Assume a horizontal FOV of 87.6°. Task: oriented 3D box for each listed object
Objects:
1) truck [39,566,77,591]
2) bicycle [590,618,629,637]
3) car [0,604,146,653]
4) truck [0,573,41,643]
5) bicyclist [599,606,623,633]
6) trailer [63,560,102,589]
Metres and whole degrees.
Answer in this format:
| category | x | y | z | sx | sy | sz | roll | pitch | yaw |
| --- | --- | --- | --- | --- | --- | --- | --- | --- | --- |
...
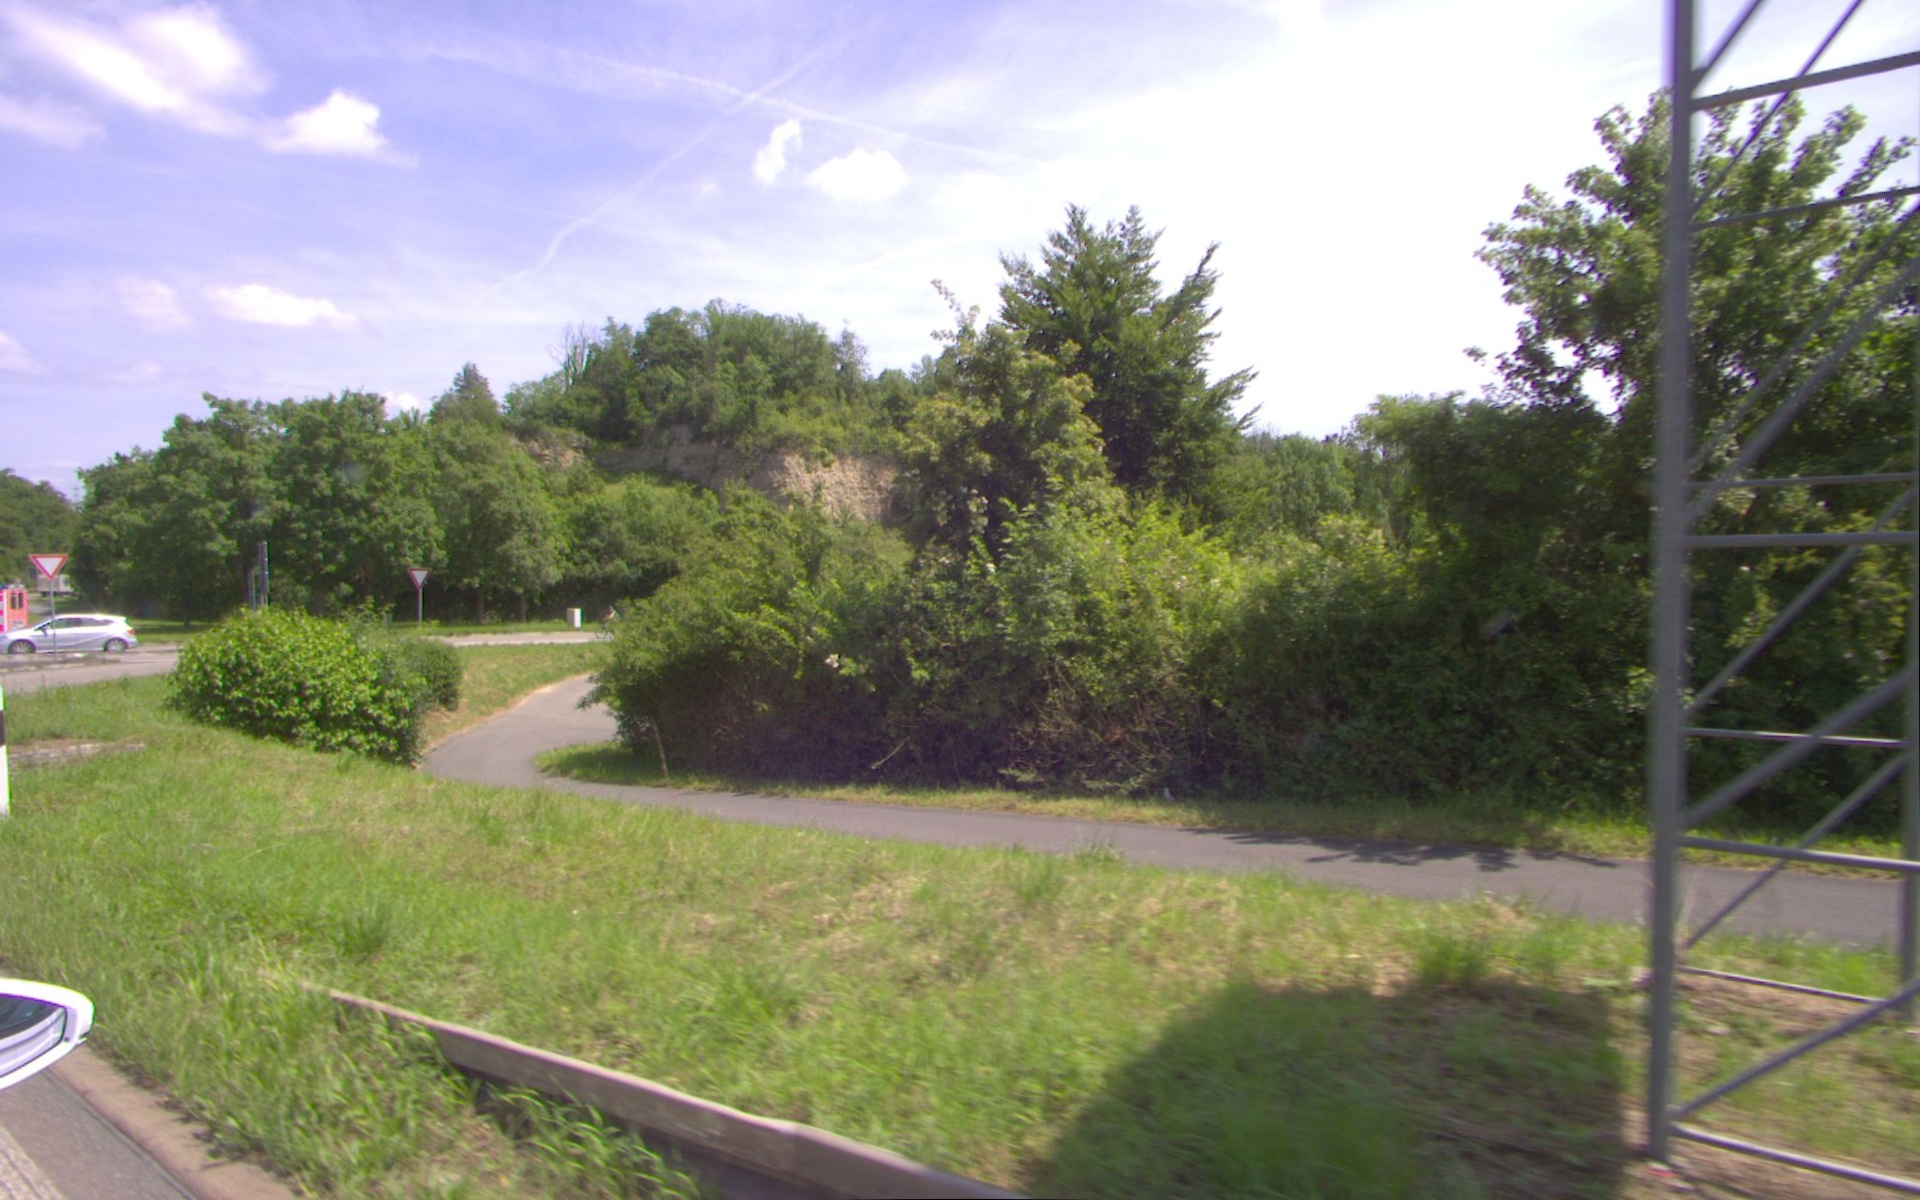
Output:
| category | x | y | z | sx | sy | sz | roll | pitch | yaw |
| --- | --- | --- | --- | --- | --- | --- | --- | --- | --- |
| truck | -118.470 | -2.813 | 131.603 | 2.828 | 2.986 | 7.058 | 1 | -1 | -34 |
| bicycle | -19.312 | 1.541 | 55.143 | 0.786 | 1.008 | 1.986 | -2 | -3 | 31 |
| car | -34.021 | 1.118 | 38.127 | 1.976 | 1.740 | 4.412 | -3 | -3 | 38 |
| truck | -41.362 | 0.365 | 40.281 | 5.930 | 2.761 | 2.496 | 0 | -2 | -21 |
| bicyclist | -19.228 | 1.100 | 55.217 | 0.784 | 1.466 | 1.004 | -2 | -2 | 31 |
| trailer | -127.648 | -3.612 | 145.791 | 3.220 | 3.733 | 9.189 | 1 | -1 | -34 |
